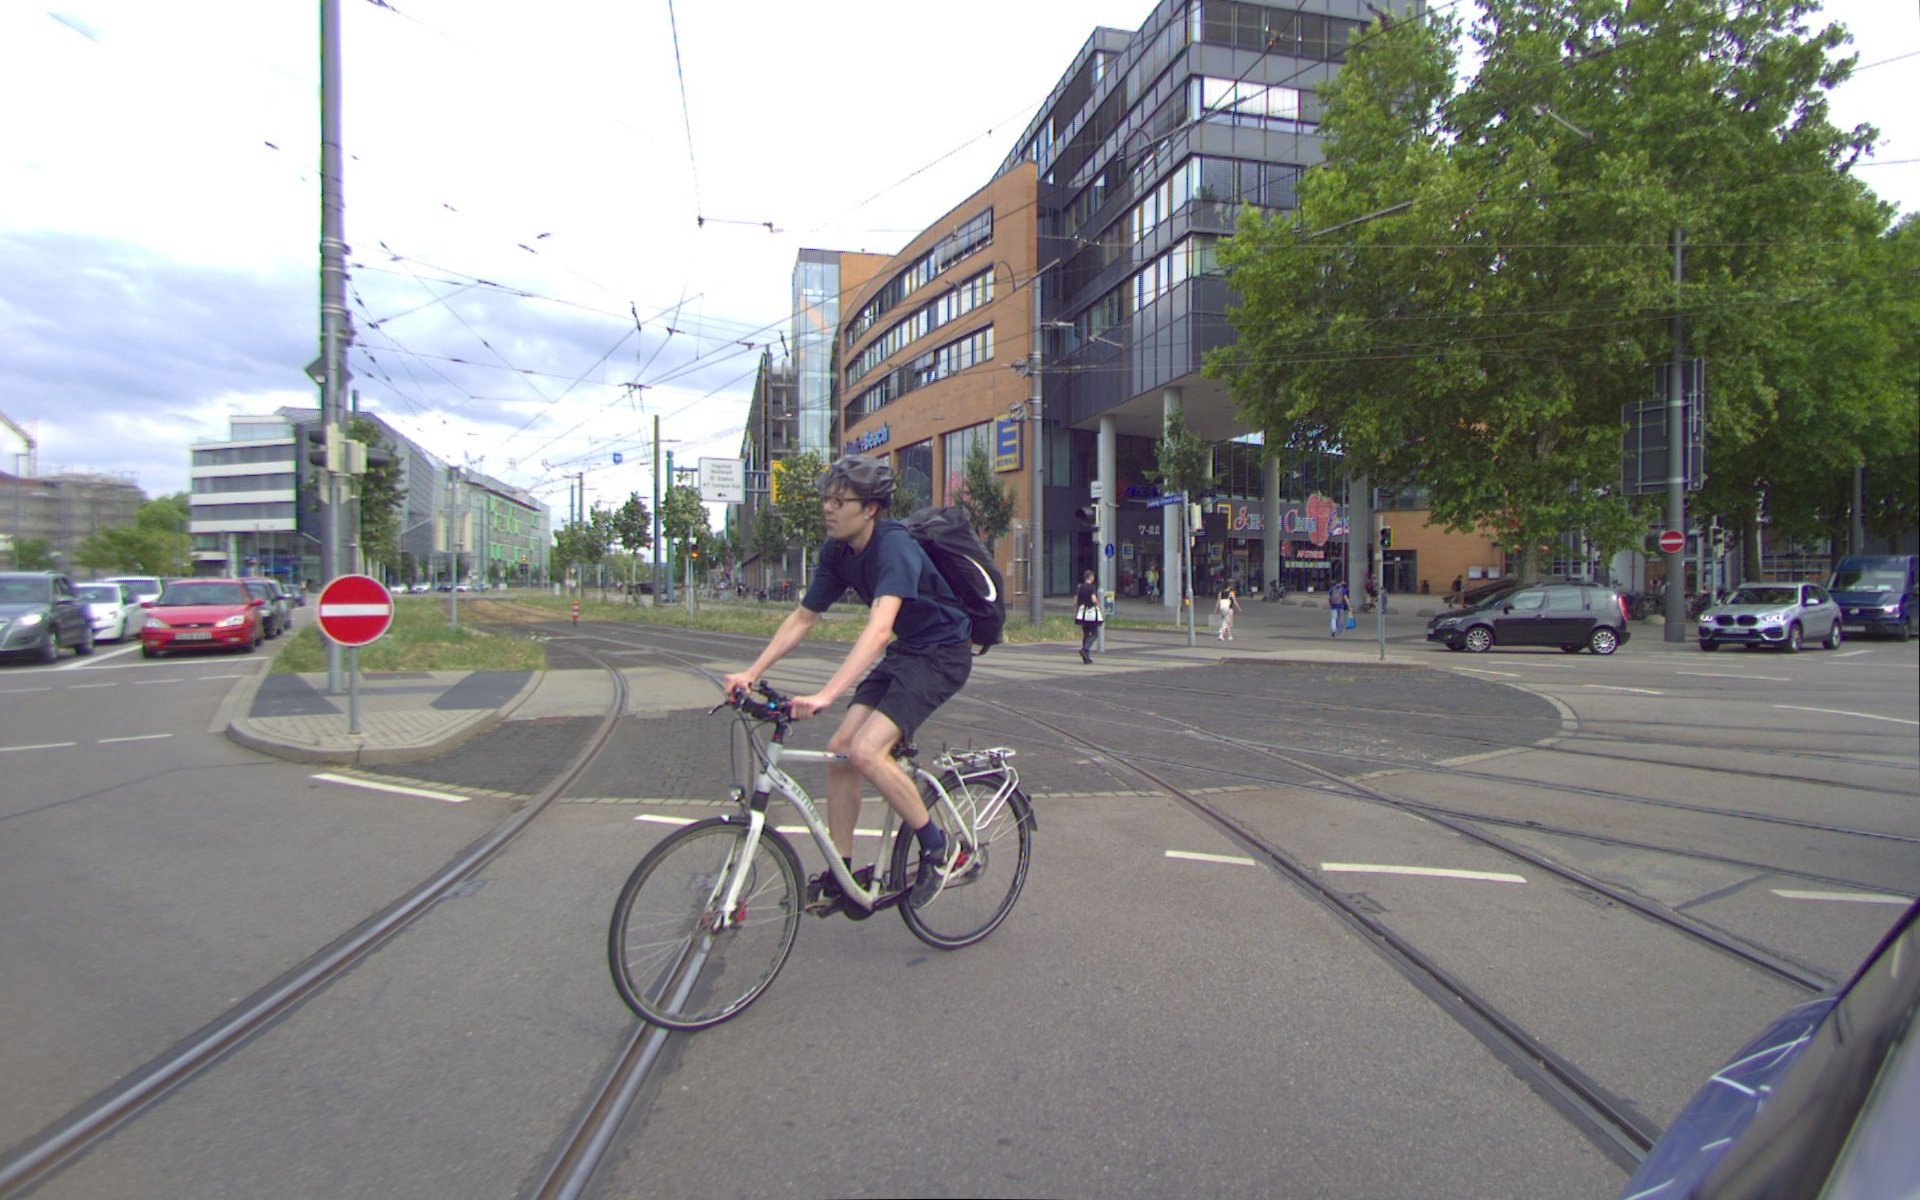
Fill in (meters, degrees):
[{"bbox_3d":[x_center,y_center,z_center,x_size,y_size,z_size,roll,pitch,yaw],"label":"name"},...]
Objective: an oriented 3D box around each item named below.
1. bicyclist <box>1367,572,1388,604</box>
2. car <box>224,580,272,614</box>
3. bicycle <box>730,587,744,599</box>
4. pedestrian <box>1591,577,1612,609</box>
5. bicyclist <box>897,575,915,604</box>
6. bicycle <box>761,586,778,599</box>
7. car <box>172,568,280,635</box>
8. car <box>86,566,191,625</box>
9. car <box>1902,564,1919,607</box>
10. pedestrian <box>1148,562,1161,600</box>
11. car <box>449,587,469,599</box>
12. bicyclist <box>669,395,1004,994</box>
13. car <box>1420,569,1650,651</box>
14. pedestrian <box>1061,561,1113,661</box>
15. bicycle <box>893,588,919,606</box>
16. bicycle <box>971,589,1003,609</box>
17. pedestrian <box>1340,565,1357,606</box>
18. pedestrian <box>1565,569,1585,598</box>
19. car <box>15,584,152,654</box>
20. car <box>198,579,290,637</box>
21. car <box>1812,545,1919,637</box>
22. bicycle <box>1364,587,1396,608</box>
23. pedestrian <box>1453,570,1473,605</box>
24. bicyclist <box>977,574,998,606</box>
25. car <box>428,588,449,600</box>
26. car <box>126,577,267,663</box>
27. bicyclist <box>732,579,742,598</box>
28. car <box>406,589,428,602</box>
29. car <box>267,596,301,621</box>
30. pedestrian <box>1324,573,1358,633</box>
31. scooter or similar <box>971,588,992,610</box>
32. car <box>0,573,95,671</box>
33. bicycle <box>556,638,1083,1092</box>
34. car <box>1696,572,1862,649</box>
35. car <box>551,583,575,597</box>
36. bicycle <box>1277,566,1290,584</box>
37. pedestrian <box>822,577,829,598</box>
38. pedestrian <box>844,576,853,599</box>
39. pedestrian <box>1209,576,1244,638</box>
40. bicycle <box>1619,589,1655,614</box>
[{"bbox_3d":[19.004,-0.543,46.020,0.723,1.450,0.532,-1,1,-30],"label":"bicyclist"},{"bbox_3d":[-38.410,-0.196,54.676,1.788,1.687,4.414,-3,2,-32],"label":"car"},{"bbox_3d":[-17.521,-0.542,79.492,0.526,0.946,1.794,-1,1,-33],"label":"bicycle"},{"bbox_3d":[30.905,-0.338,48.766,0.669,1.529,0.588,-2,1,-28],"label":"pedestrian"},{"bbox_3d":[-3.179,-0.621,59.631,0.625,1.636,0.979,-2,1,-33],"label":"bicyclist"},{"bbox_3d":[-14.406,-0.578,76.494,0.626,1.023,2.006,-1,1,-33],"label":"bicycle"},{"bbox_3d":[-17.914,0.007,24.862,1.788,1.450,4.003,-3,2,-32],"label":"car"},{"bbox_3d":[-23.854,-0.152,29.524,1.788,1.551,4.003,-3,2,-32],"label":"car"},{"bbox_3d":[34.423,-0.542,35.089,4.193,1.435,1.759,-2,2,-35],"label":"car"},{"bbox_3d":[9.757,-0.957,50.721,0.617,1.890,0.670,0,0,15],"label":"pedestrian"},{"bbox_3d":[-81.197,-1.151,164.041,1.958,1.772,4.172,-1,1,-12],"label":"car"},{"bbox_3d":[-0.419,0.272,3.579,1.016,1.793,0.591,-1,1,-40],"label":"bicyclist"},{"bbox_3d":[13.055,0.212,23.229,4.107,1.760,1.962,-1,0,6],"label":"car"},{"bbox_3d":[2.357,0.184,18.789,0.657,1.814,0.678,-1,1,-38],"label":"pedestrian"},{"bbox_3d":[-3.193,-0.184,59.657,0.626,1.023,2.006,-2,1,-32],"label":"bicycle"},{"bbox_3d":[1.378,-0.067,51.691,0.626,1.023,2.006,-1,1,-32],"label":"bicycle"},{"bbox_3d":[18.338,-0.683,47.756,0.504,1.890,0.547,0,0,-13],"label":"pedestrian"},{"bbox_3d":[32.686,-0.896,53.800,0.668,1.529,0.589,-2,1,-16],"label":"pedestrian"},{"bbox_3d":[-20.815,0.388,24.199,1.788,1.479,4.003,-3,2,-32],"label":"car"},{"bbox_3d":[-20.009,0.190,28.407,1.788,1.450,4.003,-3,2,-32],"label":"car"},{"bbox_3d":[28.022,-0.310,30.423,6.868,2.487,2.175,-1,1,-37],"label":"car"},{"bbox_3d":[19.110,-0.113,46.085,1.510,0.928,0.536,-2,1,-30],"label":"bicycle"},{"bbox_3d":[25.827,-0.637,51.972,0.730,1.753,0.587,-1,1,4],"label":"pedestrian"},{"bbox_3d":[1.392,-0.503,51.665,0.625,1.636,0.979,-1,1,-33],"label":"bicyclist"},{"bbox_3d":[-78.816,-0.867,152.936,1.958,1.772,4.173,-1,1,-14],"label":"car"},{"bbox_3d":[-14.938,0.328,20.003,1.788,1.450,4.003,-3,2,-32],"label":"car"},{"bbox_3d":[-17.511,-0.900,79.472,0.524,1.460,0.844,-1,1,-33],"label":"bicyclist"},{"bbox_3d":[-76.394,-0.611,142.458,1.958,1.772,4.173,-1,1,-17],"label":"car"},{"bbox_3d":[-45.699,0.561,68.488,1.676,1.551,4.003,-3,2,-32],"label":"car"},{"bbox_3d":[11.383,0.079,30.239,0.729,1.753,0.588,-1,1,-32],"label":"pedestrian"},{"bbox_3d":[1.181,-0.063,55.735,0.476,1.182,1.477,-1,1,-27],"label":"scooter or similar"},{"bbox_3d":[-16.839,0.357,17.792,1.788,1.551,4.223,-3,2,-32],"label":"car"},{"bbox_3d":[-0.406,0.762,3.603,1.825,1.153,0.595,-1,1,-40],"label":"bicycle"},{"bbox_3d":[19.961,0.221,24.611,4.552,1.682,1.964,-1,-1,-36],"label":"car"},{"bbox_3d":[-49.558,-1.253,126.412,1.729,1.640,4.005,-1,1,-6],"label":"car"},{"bbox_3d":[17.142,-1.323,53.672,0.528,0.928,1.558,-1,1,12],"label":"bicycle"},{"bbox_3d":[-10.401,-0.970,78.380,0.475,1.619,0.448,0,1,-16],"label":"pedestrian"},{"bbox_3d":[-8.117,-0.922,73.533,0.603,1.619,0.448,0,1,-16],"label":"pedestrian"},{"bbox_3d":[7.322,0.178,27.827,0.729,1.672,0.588,-1,1,-32],"label":"pedestrian"},{"bbox_3d":[27.657,0.054,41.352,1.688,0.928,0.536,-2,1,-30],"label":"bicycle"}]
